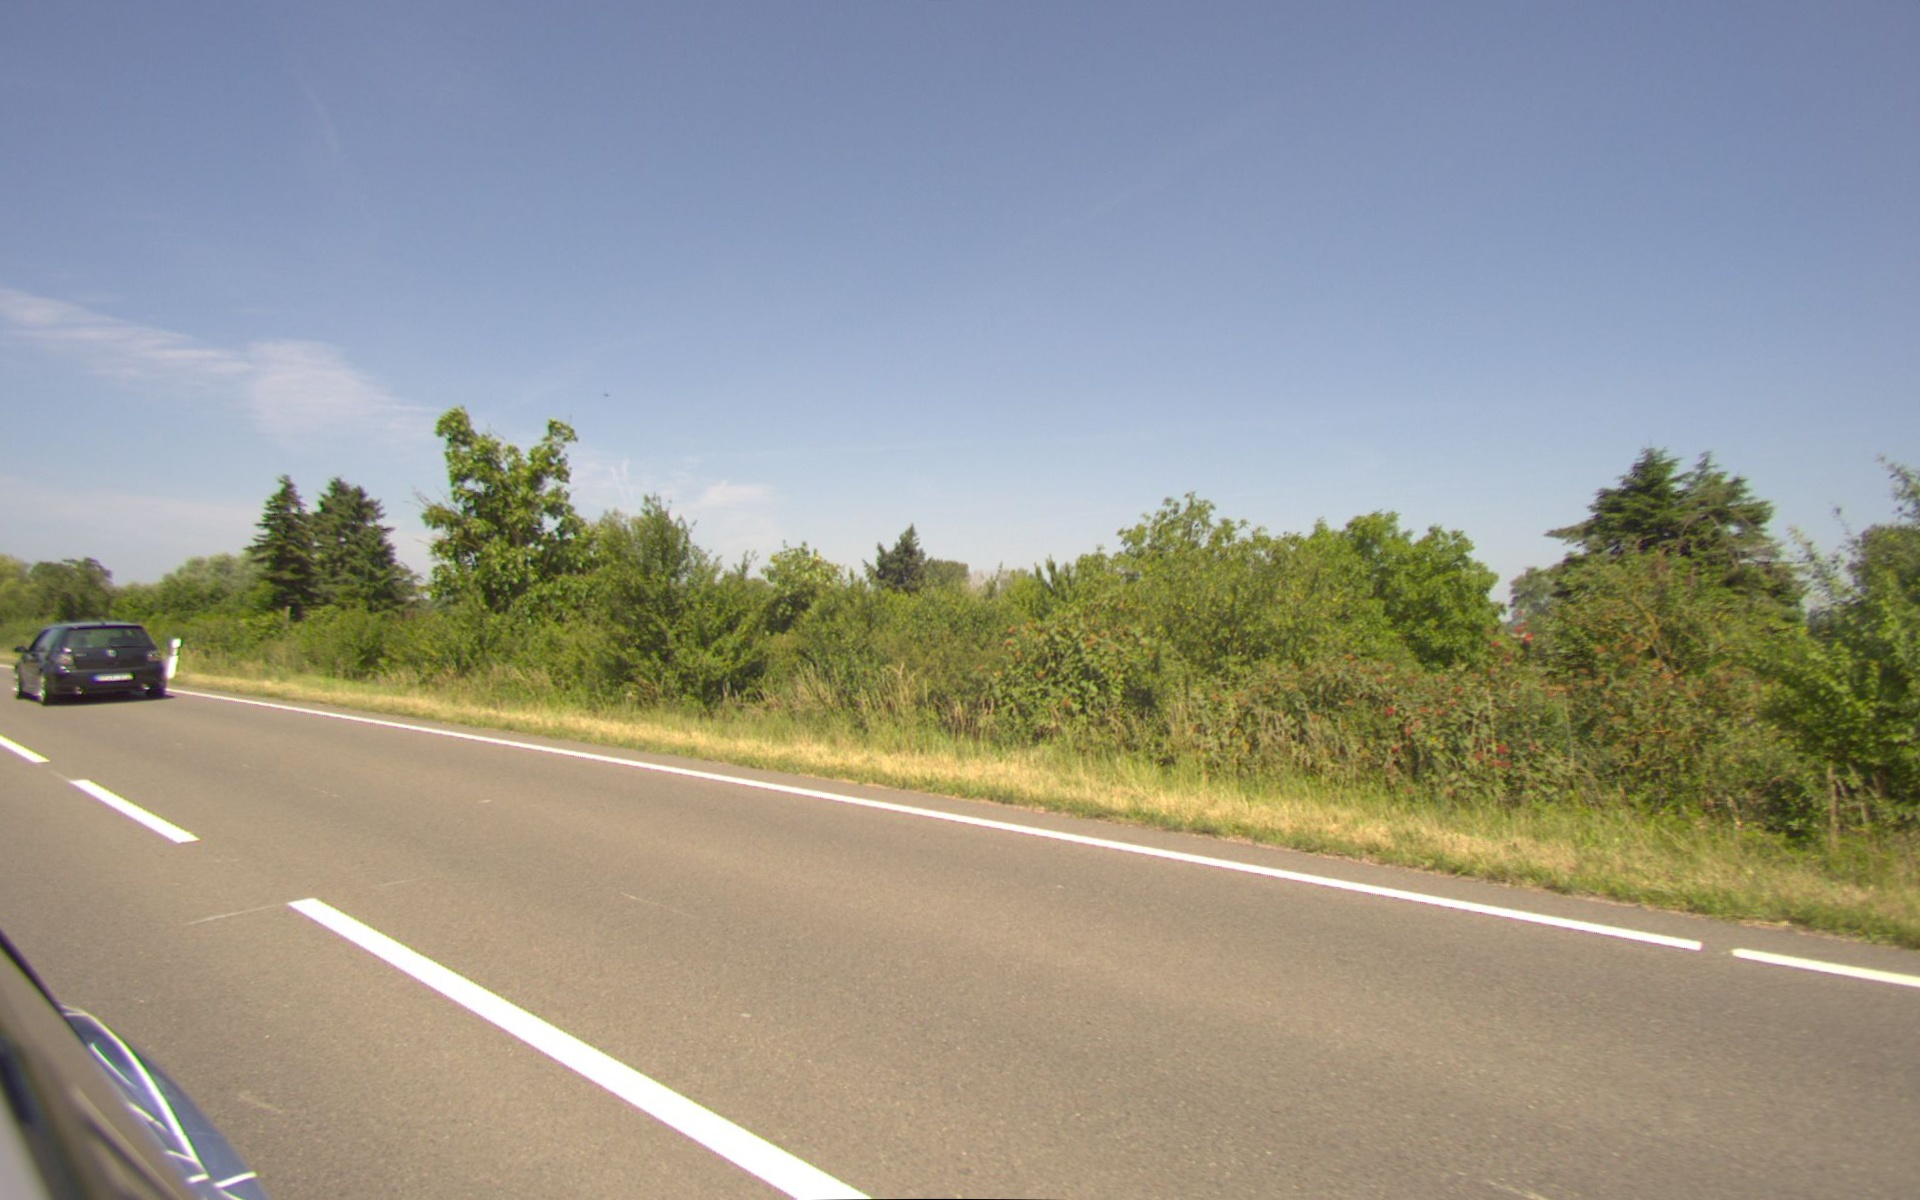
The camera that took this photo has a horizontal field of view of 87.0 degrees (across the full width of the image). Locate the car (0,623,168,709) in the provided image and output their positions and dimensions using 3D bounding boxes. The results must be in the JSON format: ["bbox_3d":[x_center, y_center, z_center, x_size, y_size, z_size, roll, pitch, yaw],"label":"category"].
[{"bbox_3d":[-16.142,1.134,18.583,3.821,1.373,1.676,-1,0,38],"label":"car"}]
